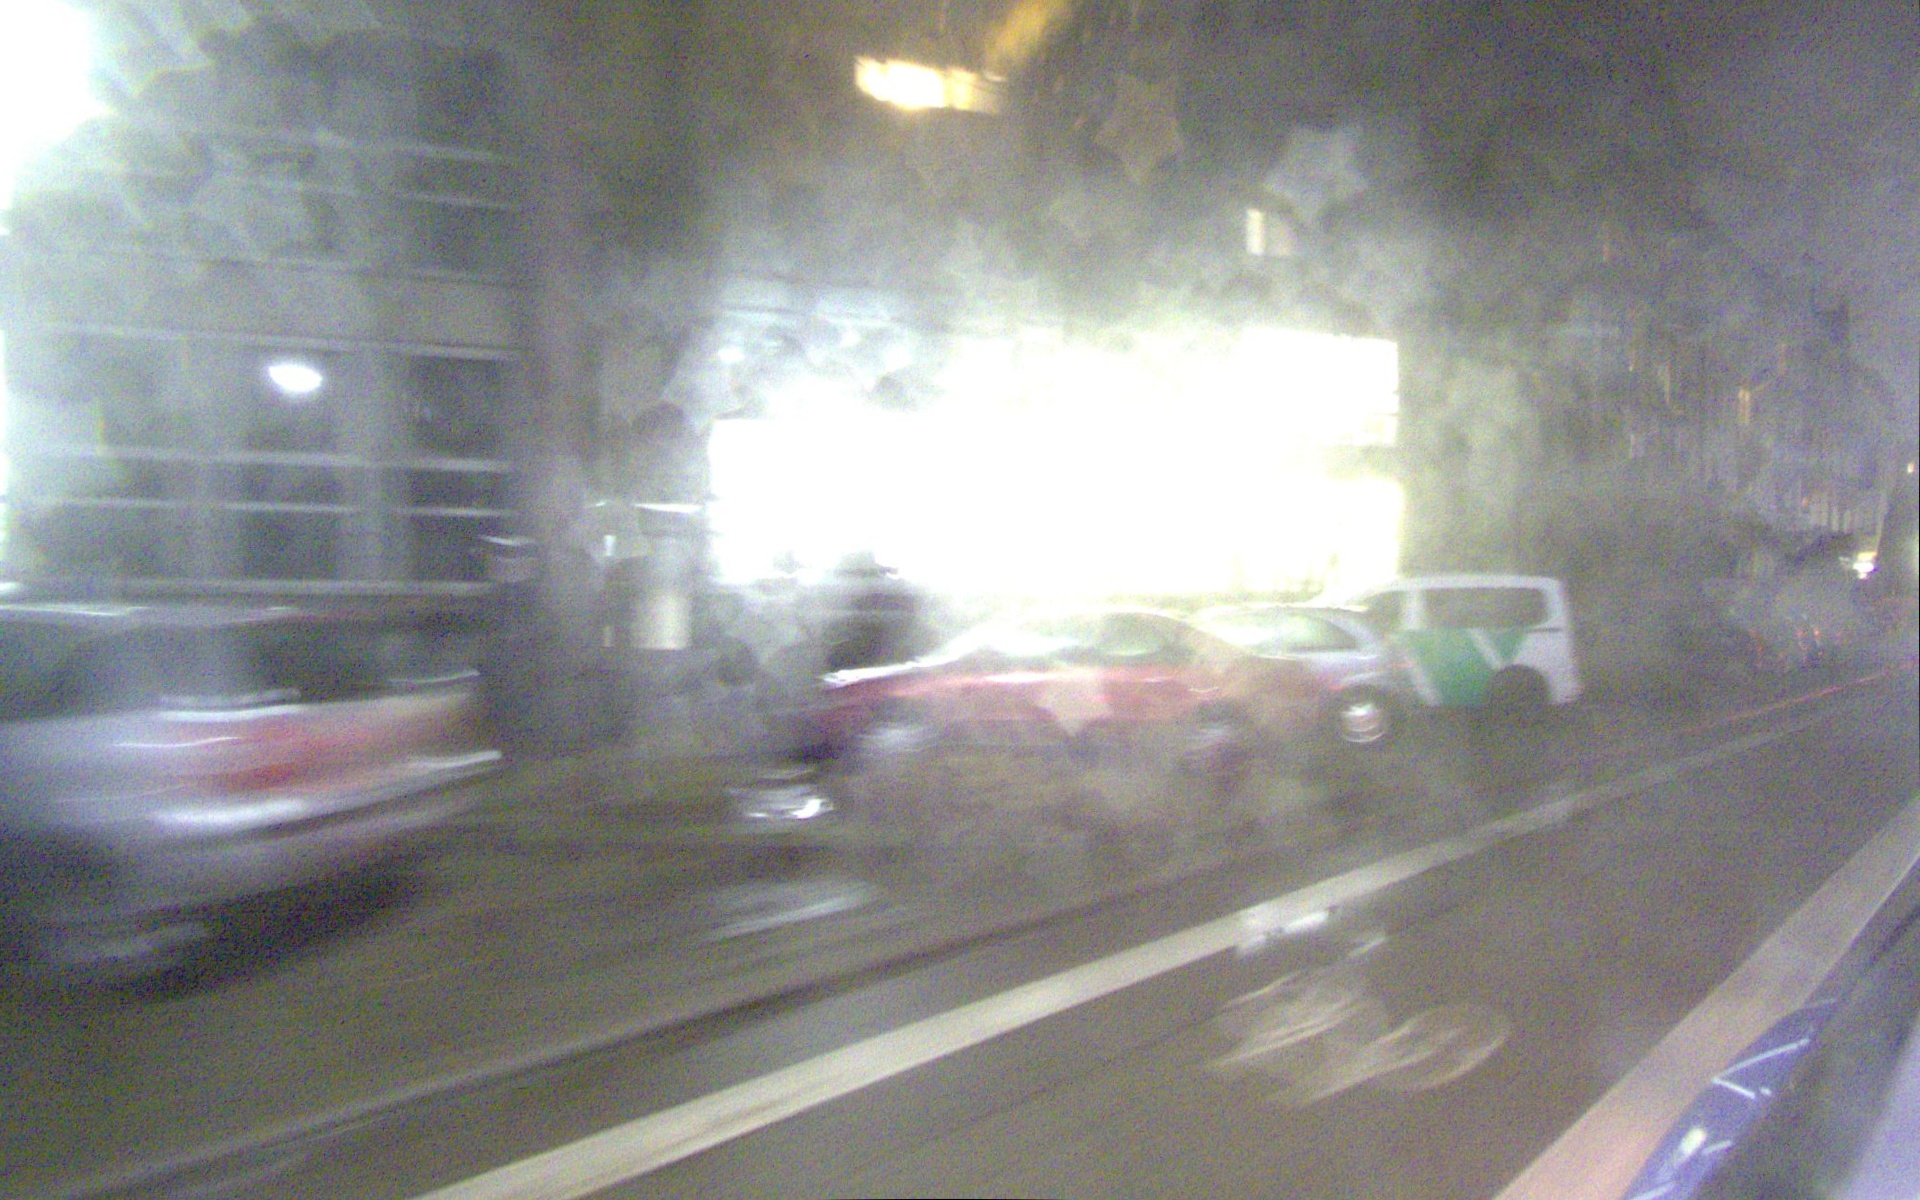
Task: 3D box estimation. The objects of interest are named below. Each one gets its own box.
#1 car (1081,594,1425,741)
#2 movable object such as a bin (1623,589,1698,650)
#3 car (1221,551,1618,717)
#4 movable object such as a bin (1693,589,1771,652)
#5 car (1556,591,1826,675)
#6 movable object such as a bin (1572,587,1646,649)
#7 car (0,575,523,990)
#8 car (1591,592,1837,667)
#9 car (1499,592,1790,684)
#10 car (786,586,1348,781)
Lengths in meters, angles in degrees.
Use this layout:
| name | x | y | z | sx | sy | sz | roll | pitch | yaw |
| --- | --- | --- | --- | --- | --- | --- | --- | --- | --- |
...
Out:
| name | x | y | z | sx | sy | sz | roll | pitch | yaw |
| --- | --- | --- | --- | --- | --- | --- | --- | --- | --- |
| car | 3.054 | 0.653 | 10.892 | 3.290 | 1.403 | 1.623 | -1 | 0 | 16 |
| movable object such as a bin | 17.017 | 0.447 | 24.620 | 1.400 | 1.424 | 1.016 | 1 | 1 | 30 |
| car | 5.529 | 0.435 | 12.752 | 4.105 | 1.863 | 1.957 | -1 | -1 | 9 |
| movable object such as a bin | 18.252 | 0.470 | 23.968 | 1.341 | 1.425 | 1.016 | 1 | 1 | 30 |
| car | 13.835 | 0.581 | 19.342 | 3.785 | 1.507 | 1.806 | 0 | 1 | 3 |
| movable object such as a bin | 15.549 | 0.416 | 24.256 | 1.390 | 1.424 | 1.027 | 0 | 1 | -35 |
| car | -4.275 | 0.678 | 4.627 | 3.787 | 1.452 | 1.819 | -1 | 0 | 5 |
| car | 15.825 | 0.610 | 21.429 | 3.726 | 1.477 | 1.766 | -1 | -1 | 8 |
| car | 11.588 | 0.629 | 17.340 | 3.768 | 1.457 | 1.597 | -1 | -1 | 6 |
| car | 0.839 | 0.647 | 8.797 | 4.375 | 1.422 | 1.691 | 1 | 0 | 2 |
